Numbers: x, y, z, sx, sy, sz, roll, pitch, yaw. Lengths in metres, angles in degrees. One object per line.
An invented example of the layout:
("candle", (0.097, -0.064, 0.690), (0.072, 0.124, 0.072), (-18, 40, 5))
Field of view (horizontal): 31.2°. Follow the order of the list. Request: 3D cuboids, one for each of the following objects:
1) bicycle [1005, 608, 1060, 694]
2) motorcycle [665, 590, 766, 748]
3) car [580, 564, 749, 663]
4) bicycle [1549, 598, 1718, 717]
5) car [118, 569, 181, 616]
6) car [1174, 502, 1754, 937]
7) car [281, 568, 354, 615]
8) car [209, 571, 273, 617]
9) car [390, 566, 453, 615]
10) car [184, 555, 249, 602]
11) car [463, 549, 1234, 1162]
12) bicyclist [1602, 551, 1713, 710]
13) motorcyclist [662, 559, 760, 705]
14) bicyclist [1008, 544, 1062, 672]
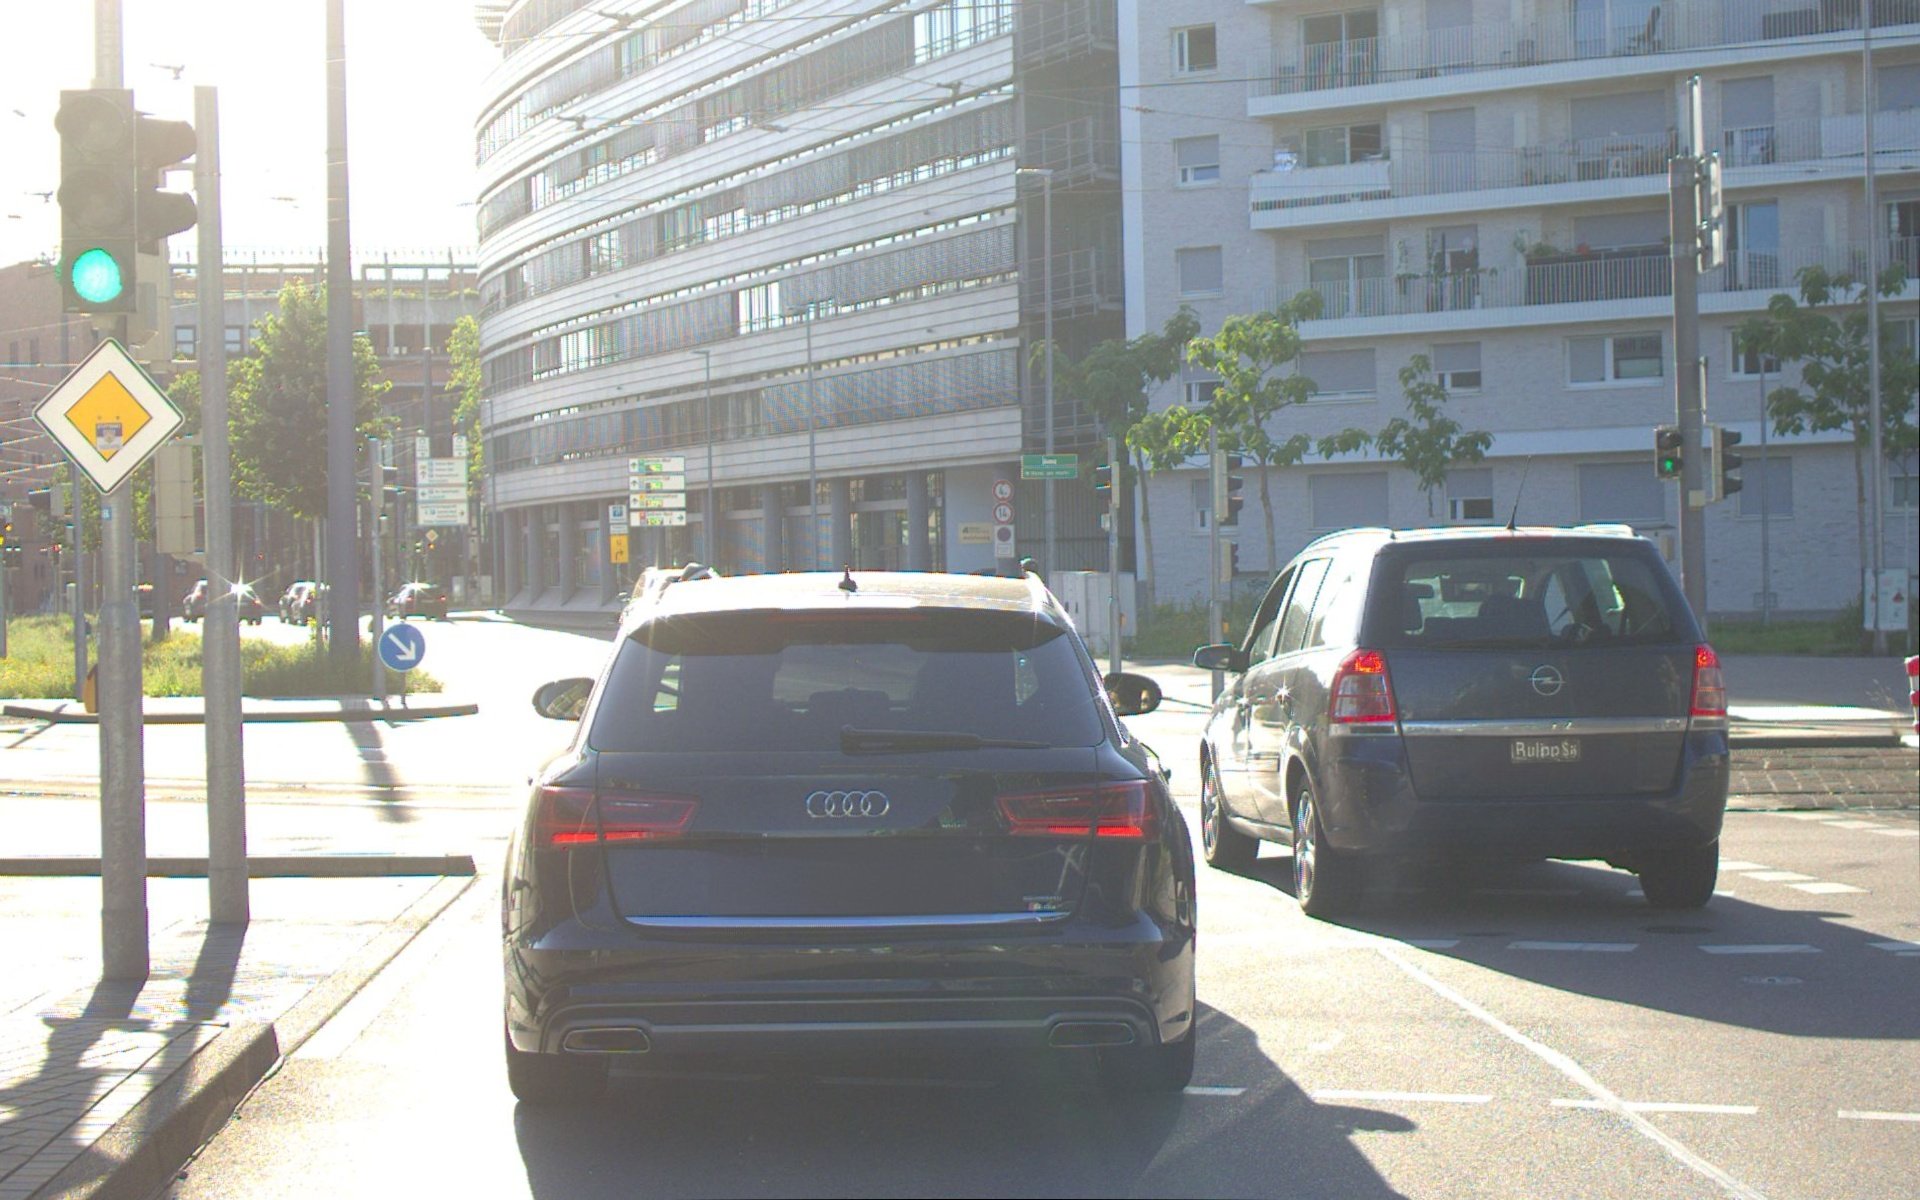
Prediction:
("bicycle", (0.956, 0.654, 44.963), (0.654, 1.039, 1.929), (-1, 1, 3))
("motorcycle", (-2.242, 0.617, 31.718), (0.862, 1.388, 1.894), (-1, 0, -3))
("car", (-5.466, 0.216, 63.142), (2.002, 1.709, 4.373), (0, 1, -20))
("bicycle", (7.402, 0.613, 37.883), (0.766, 1.258, 2.082), (-1, 1, -23))
("car", (-31.301, -0.281, 132.705), (1.993, 1.700, 4.001), (-2, 0, -19))
("car", (2.128, 0.455, 15.709), (1.745, 1.690, 4.261), (1, 0, -4))
("car", (-23.373, -0.302, 124.977), (1.993, 1.590, 4.001), (-2, 0, -19))
("car", (-26.661, -0.210, 127.372), (1.993, 1.590, 4.001), (-2, 0, -16))
("car", (-21.565, -0.359, 137.507), (1.993, 1.831, 4.001), (-2, 0, -16))
("car", (-28.791, -0.833, 133.053), (1.993, 1.700, 4.001), (-2, 0, -19))
("car", (-0.299, 0.588, 10.272), (1.842, 1.449, 4.000), (1, 1, -1))
("bicyclist", (7.595, 0.324, 37.449), (0.766, 1.700, 0.930), (-1, 0, -23))
("motorcyclist", (-2.300, 0.288, 31.836), (0.862, 1.322, 0.681), (-1, 0, -3))
("bicyclist", (0.985, 0.098, 44.954), (0.654, 1.637, 0.972), (-1, 1, 3))
